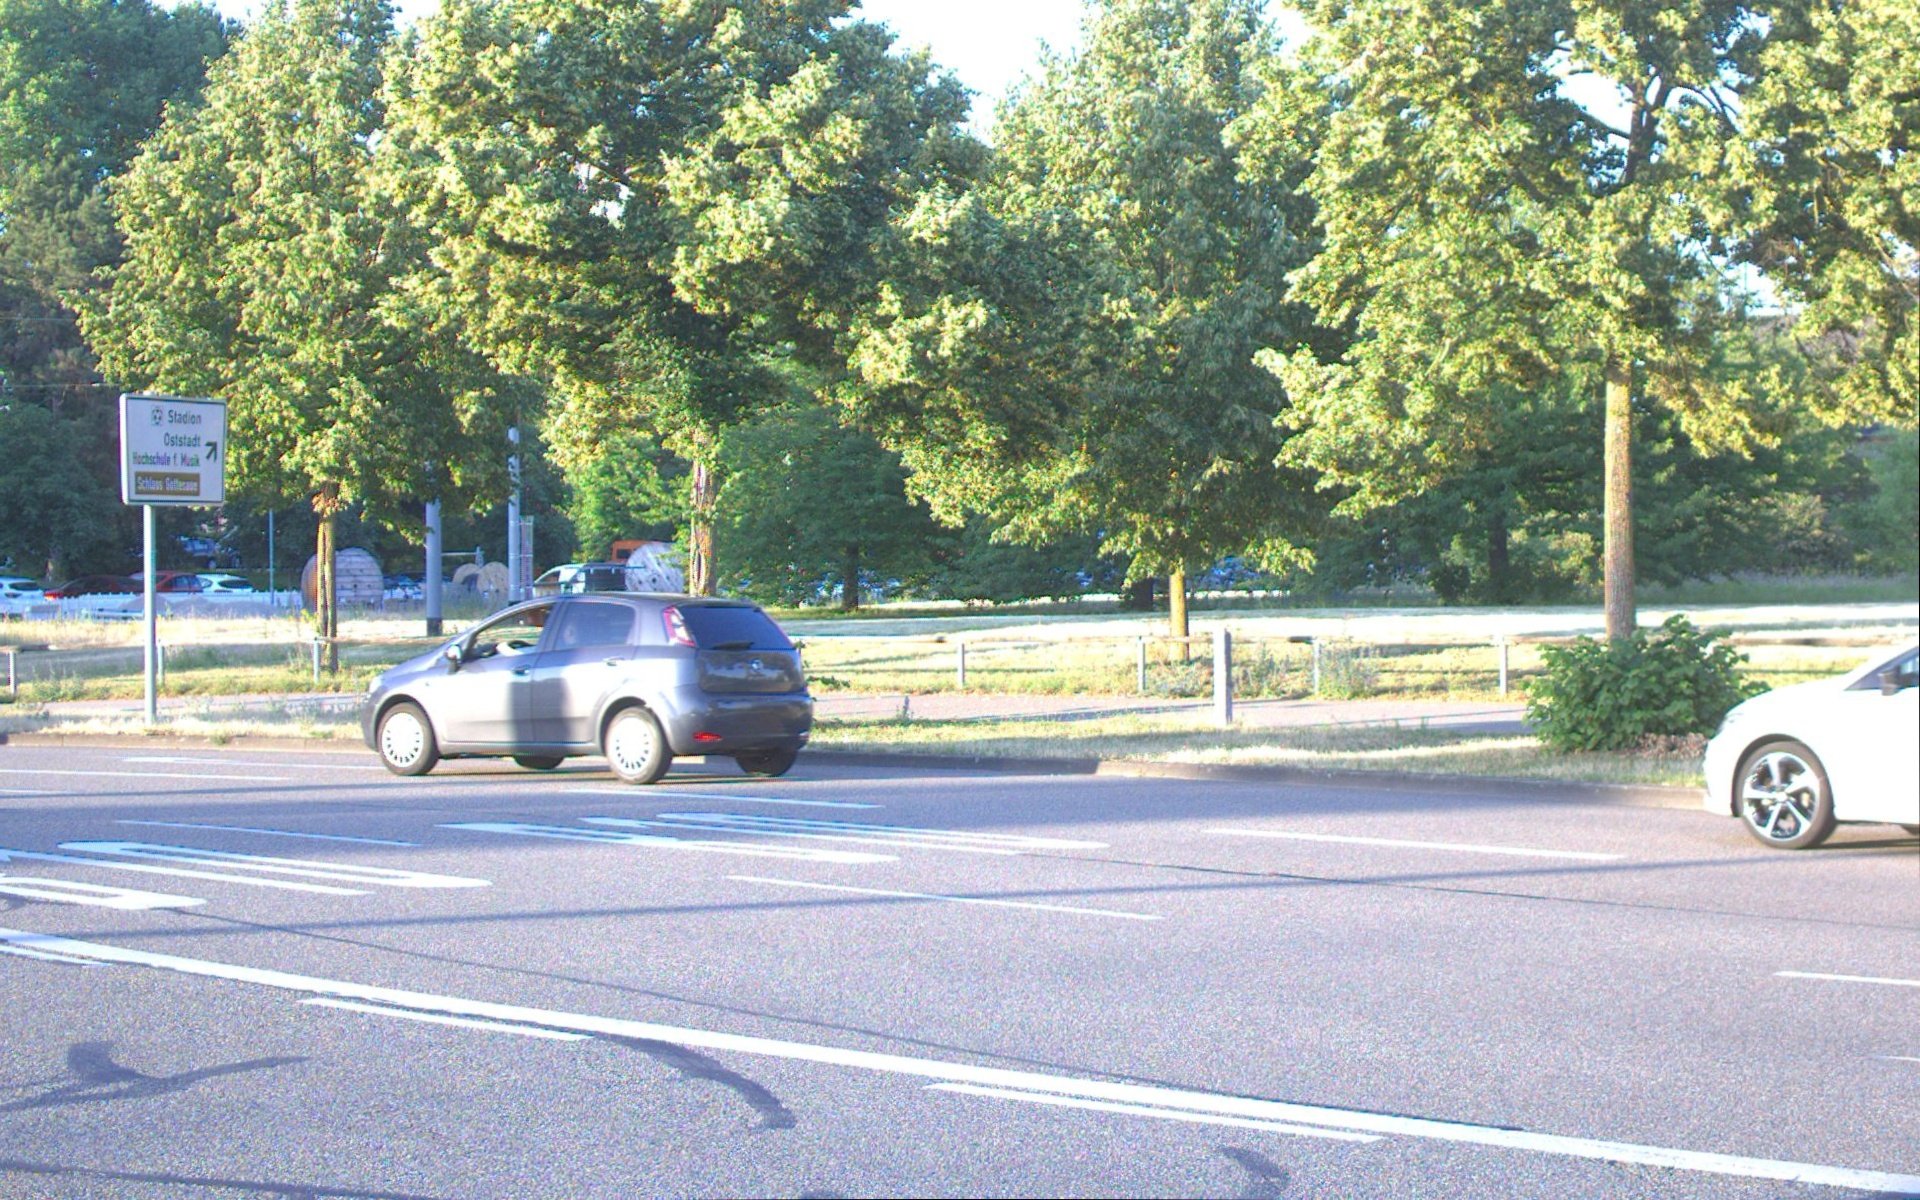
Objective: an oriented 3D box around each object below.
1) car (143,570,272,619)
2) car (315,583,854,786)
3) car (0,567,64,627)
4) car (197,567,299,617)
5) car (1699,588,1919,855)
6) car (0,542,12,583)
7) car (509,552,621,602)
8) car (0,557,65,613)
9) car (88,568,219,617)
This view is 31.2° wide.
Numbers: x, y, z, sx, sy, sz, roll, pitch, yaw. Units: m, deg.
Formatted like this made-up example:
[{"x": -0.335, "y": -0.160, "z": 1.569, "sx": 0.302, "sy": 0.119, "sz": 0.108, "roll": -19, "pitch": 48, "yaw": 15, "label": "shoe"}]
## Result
[{"x": -25.360, "y": -0.202, "z": 115.835, "sx": 3.994, "sy": 1.598, "sz": 1.996, "roll": 0, "pitch": 1, "yaw": 33, "label": "car"}, {"x": -3.040, "y": 0.614, "z": 27.437, "sx": 4.158, "sy": 1.449, "sz": 1.864, "roll": 0, "pitch": 2, "yaw": 39, "label": "car"}, {"x": -33.136, "y": -0.090, "z": 117.684, "sx": 4.582, "sy": 2.007, "sz": 2.001, "roll": -1, "pitch": 1, "yaw": -9, "label": "car"}, {"x": -26.806, "y": -0.317, "z": 129.314, "sx": 1.994, "sy": 1.746, "sz": 4.597, "roll": -1, "pitch": 2, "yaw": -37, "label": "car"}, {"x": 6.307, "y": 0.673, "z": 19.131, "sx": 1.862, "sy": 1.449, "sz": 3.969, "roll": -1, "pitch": 1, "yaw": -41, "label": "car"}, {"x": -42.398, "y": -1.573, "z": 145.376, "sx": 3.988, "sy": 1.700, "sz": 2.000, "roll": 0, "pitch": 1, "yaw": 7, "label": "car"}, {"x": -13.218, "y": -0.773, "z": 114.892, "sx": 1.734, "sy": 1.612, "sz": 3.998, "roll": -1, "pitch": 1, "yaw": -41, "label": "car"}, {"x": -35.221, "y": -0.547, "z": 125.818, "sx": 4.582, "sy": 2.007, "sz": 2.001, "roll": -1, "pitch": 1, "yaw": -9, "label": "car"}, {"x": -26.763, "y": -0.258, "z": 114.105, "sx": 3.994, "sy": 1.598, "sz": 1.996, "roll": 0, "pitch": 1, "yaw": 33, "label": "car"}]
